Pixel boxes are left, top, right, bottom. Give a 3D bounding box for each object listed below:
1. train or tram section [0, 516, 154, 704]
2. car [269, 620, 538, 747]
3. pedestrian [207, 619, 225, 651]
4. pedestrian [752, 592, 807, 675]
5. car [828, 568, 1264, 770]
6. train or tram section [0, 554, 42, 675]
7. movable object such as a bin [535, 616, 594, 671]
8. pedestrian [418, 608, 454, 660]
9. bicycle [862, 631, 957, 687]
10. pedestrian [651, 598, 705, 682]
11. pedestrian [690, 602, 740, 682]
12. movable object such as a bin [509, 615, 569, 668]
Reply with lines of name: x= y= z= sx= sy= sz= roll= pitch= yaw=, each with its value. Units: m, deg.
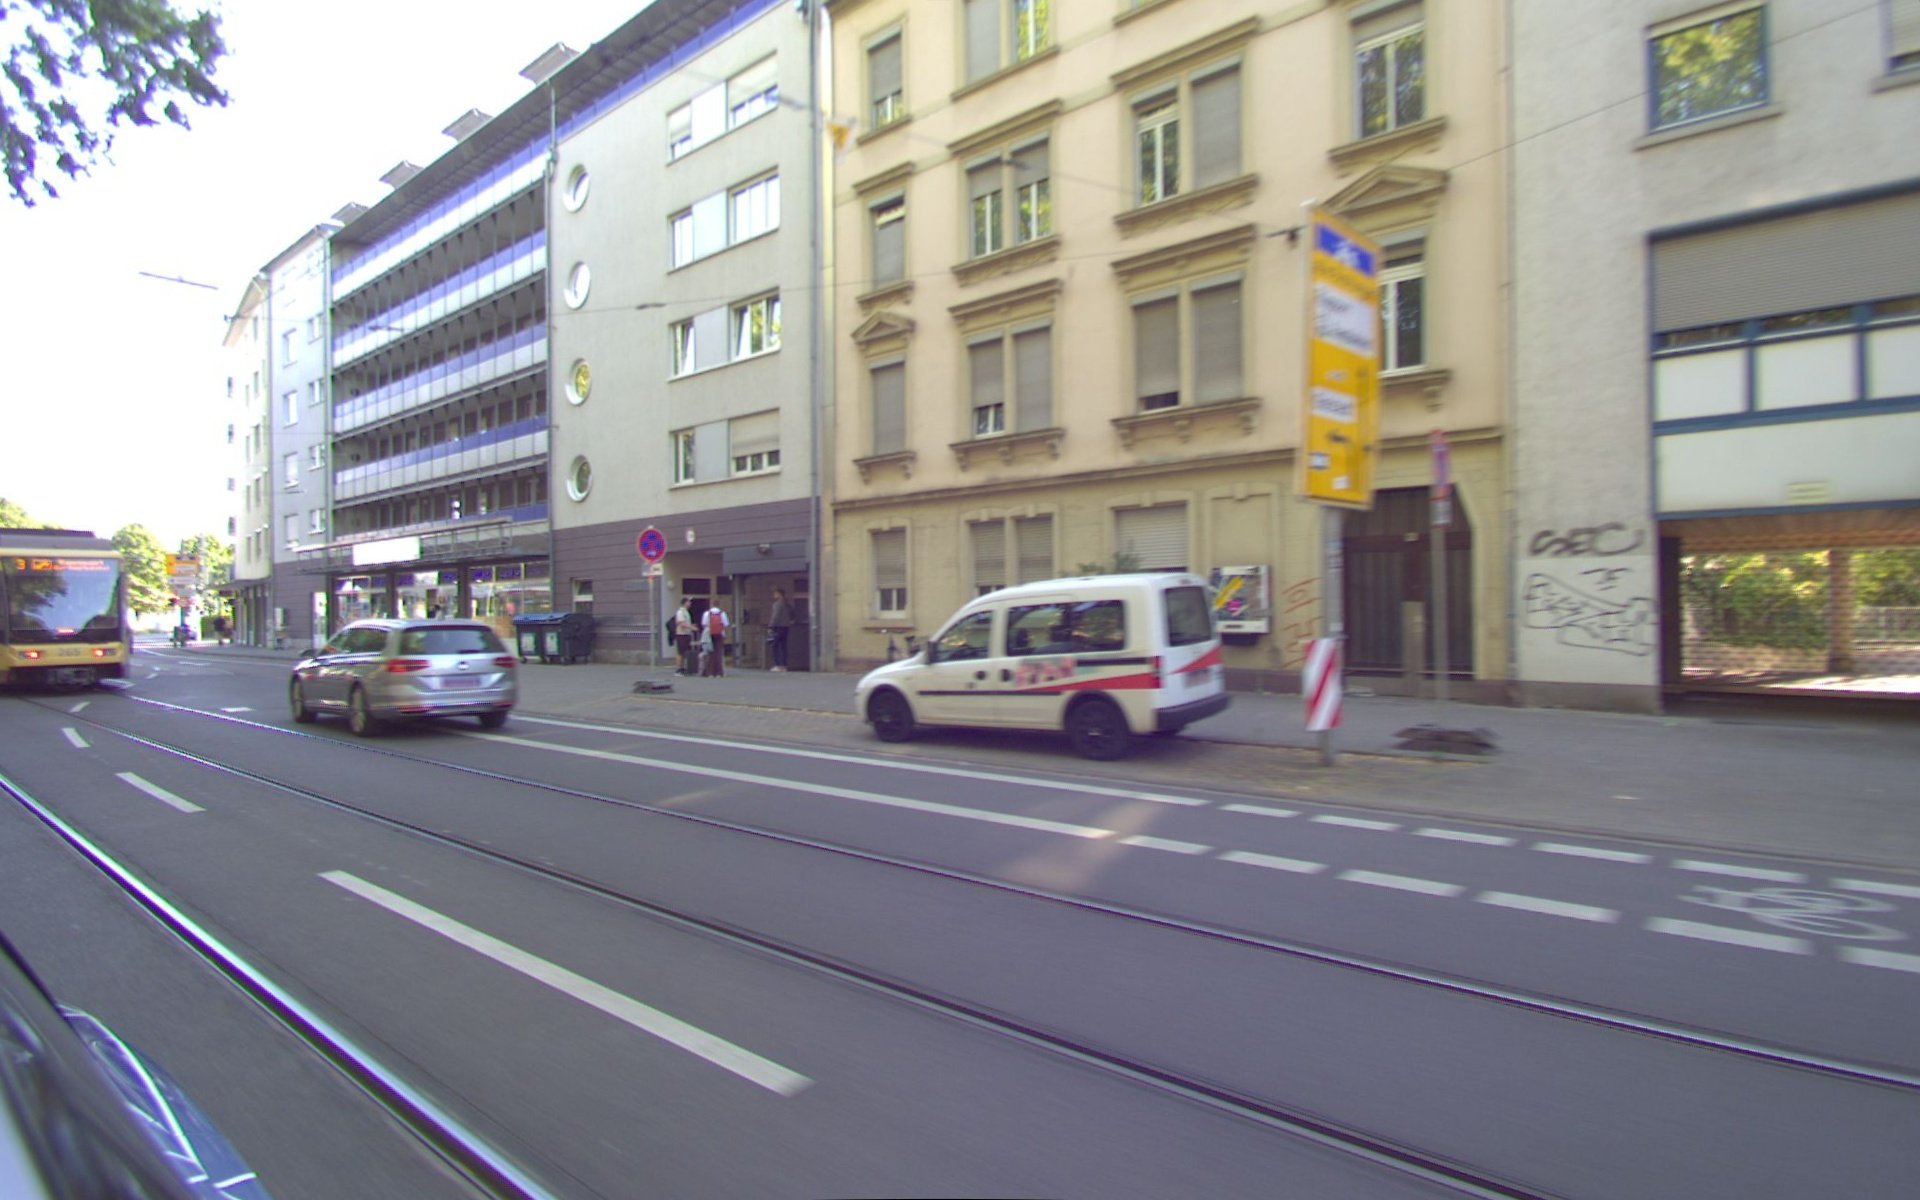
train or tram section: x=-22.829 y=0.320 z=24.305 sx=14.189 sy=3.512 sz=2.878 roll=-1 pitch=-1 yaw=41
car: x=-7.757 y=1.010 z=13.891 sx=4.715 sy=1.457 sz=1.776 roll=-1 pitch=-2 yaw=42
pedestrian: x=-39.729 y=1.869 z=54.014 sx=0.706 sy=1.686 sz=0.905 roll=0 pitch=-1 yaw=-41
pedestrian: x=-4.183 y=0.761 z=23.438 sx=0.729 sy=1.827 sz=0.953 roll=-2 pitch=1 yaw=42
car: x=0.792 y=0.639 z=11.027 sx=4.464 sy=1.784 sz=1.772 roll=-2 pitch=0 yaw=38
train or tram section: x=-33.270 y=0.546 z=33.364 sx=13.361 sy=3.512 sz=2.878 roll=-1 pitch=-1 yaw=41
movable object such as a bin: x=-10.951 y=1.182 z=27.999 sx=1.209 sy=1.462 sz=1.047 roll=-1 pitch=-1 yaw=37
pedestrian: x=-18.023 y=1.158 z=34.792 sx=0.819 sy=1.726 sz=0.779 roll=-1 pitch=2 yaw=40
bicycle: x=-0.987 y=1.084 z=19.100 sx=0.639 sy=0.978 sz=2.142 roll=-2 pitch=0 yaw=-38
pedestrian: x=-6.308 y=0.880 z=22.657 sx=0.735 sy=1.798 sz=0.856 roll=-2 pitch=0 yaw=39
pedestrian: x=-5.224 y=0.891 z=21.607 sx=0.686 sy=1.645 sz=0.720 roll=-2 pitch=1 yaw=39
movable object such as a bin: x=-11.945 y=1.170 z=28.728 sx=1.212 sy=1.462 sz=1.129 roll=-1 pitch=-1 yaw=37
